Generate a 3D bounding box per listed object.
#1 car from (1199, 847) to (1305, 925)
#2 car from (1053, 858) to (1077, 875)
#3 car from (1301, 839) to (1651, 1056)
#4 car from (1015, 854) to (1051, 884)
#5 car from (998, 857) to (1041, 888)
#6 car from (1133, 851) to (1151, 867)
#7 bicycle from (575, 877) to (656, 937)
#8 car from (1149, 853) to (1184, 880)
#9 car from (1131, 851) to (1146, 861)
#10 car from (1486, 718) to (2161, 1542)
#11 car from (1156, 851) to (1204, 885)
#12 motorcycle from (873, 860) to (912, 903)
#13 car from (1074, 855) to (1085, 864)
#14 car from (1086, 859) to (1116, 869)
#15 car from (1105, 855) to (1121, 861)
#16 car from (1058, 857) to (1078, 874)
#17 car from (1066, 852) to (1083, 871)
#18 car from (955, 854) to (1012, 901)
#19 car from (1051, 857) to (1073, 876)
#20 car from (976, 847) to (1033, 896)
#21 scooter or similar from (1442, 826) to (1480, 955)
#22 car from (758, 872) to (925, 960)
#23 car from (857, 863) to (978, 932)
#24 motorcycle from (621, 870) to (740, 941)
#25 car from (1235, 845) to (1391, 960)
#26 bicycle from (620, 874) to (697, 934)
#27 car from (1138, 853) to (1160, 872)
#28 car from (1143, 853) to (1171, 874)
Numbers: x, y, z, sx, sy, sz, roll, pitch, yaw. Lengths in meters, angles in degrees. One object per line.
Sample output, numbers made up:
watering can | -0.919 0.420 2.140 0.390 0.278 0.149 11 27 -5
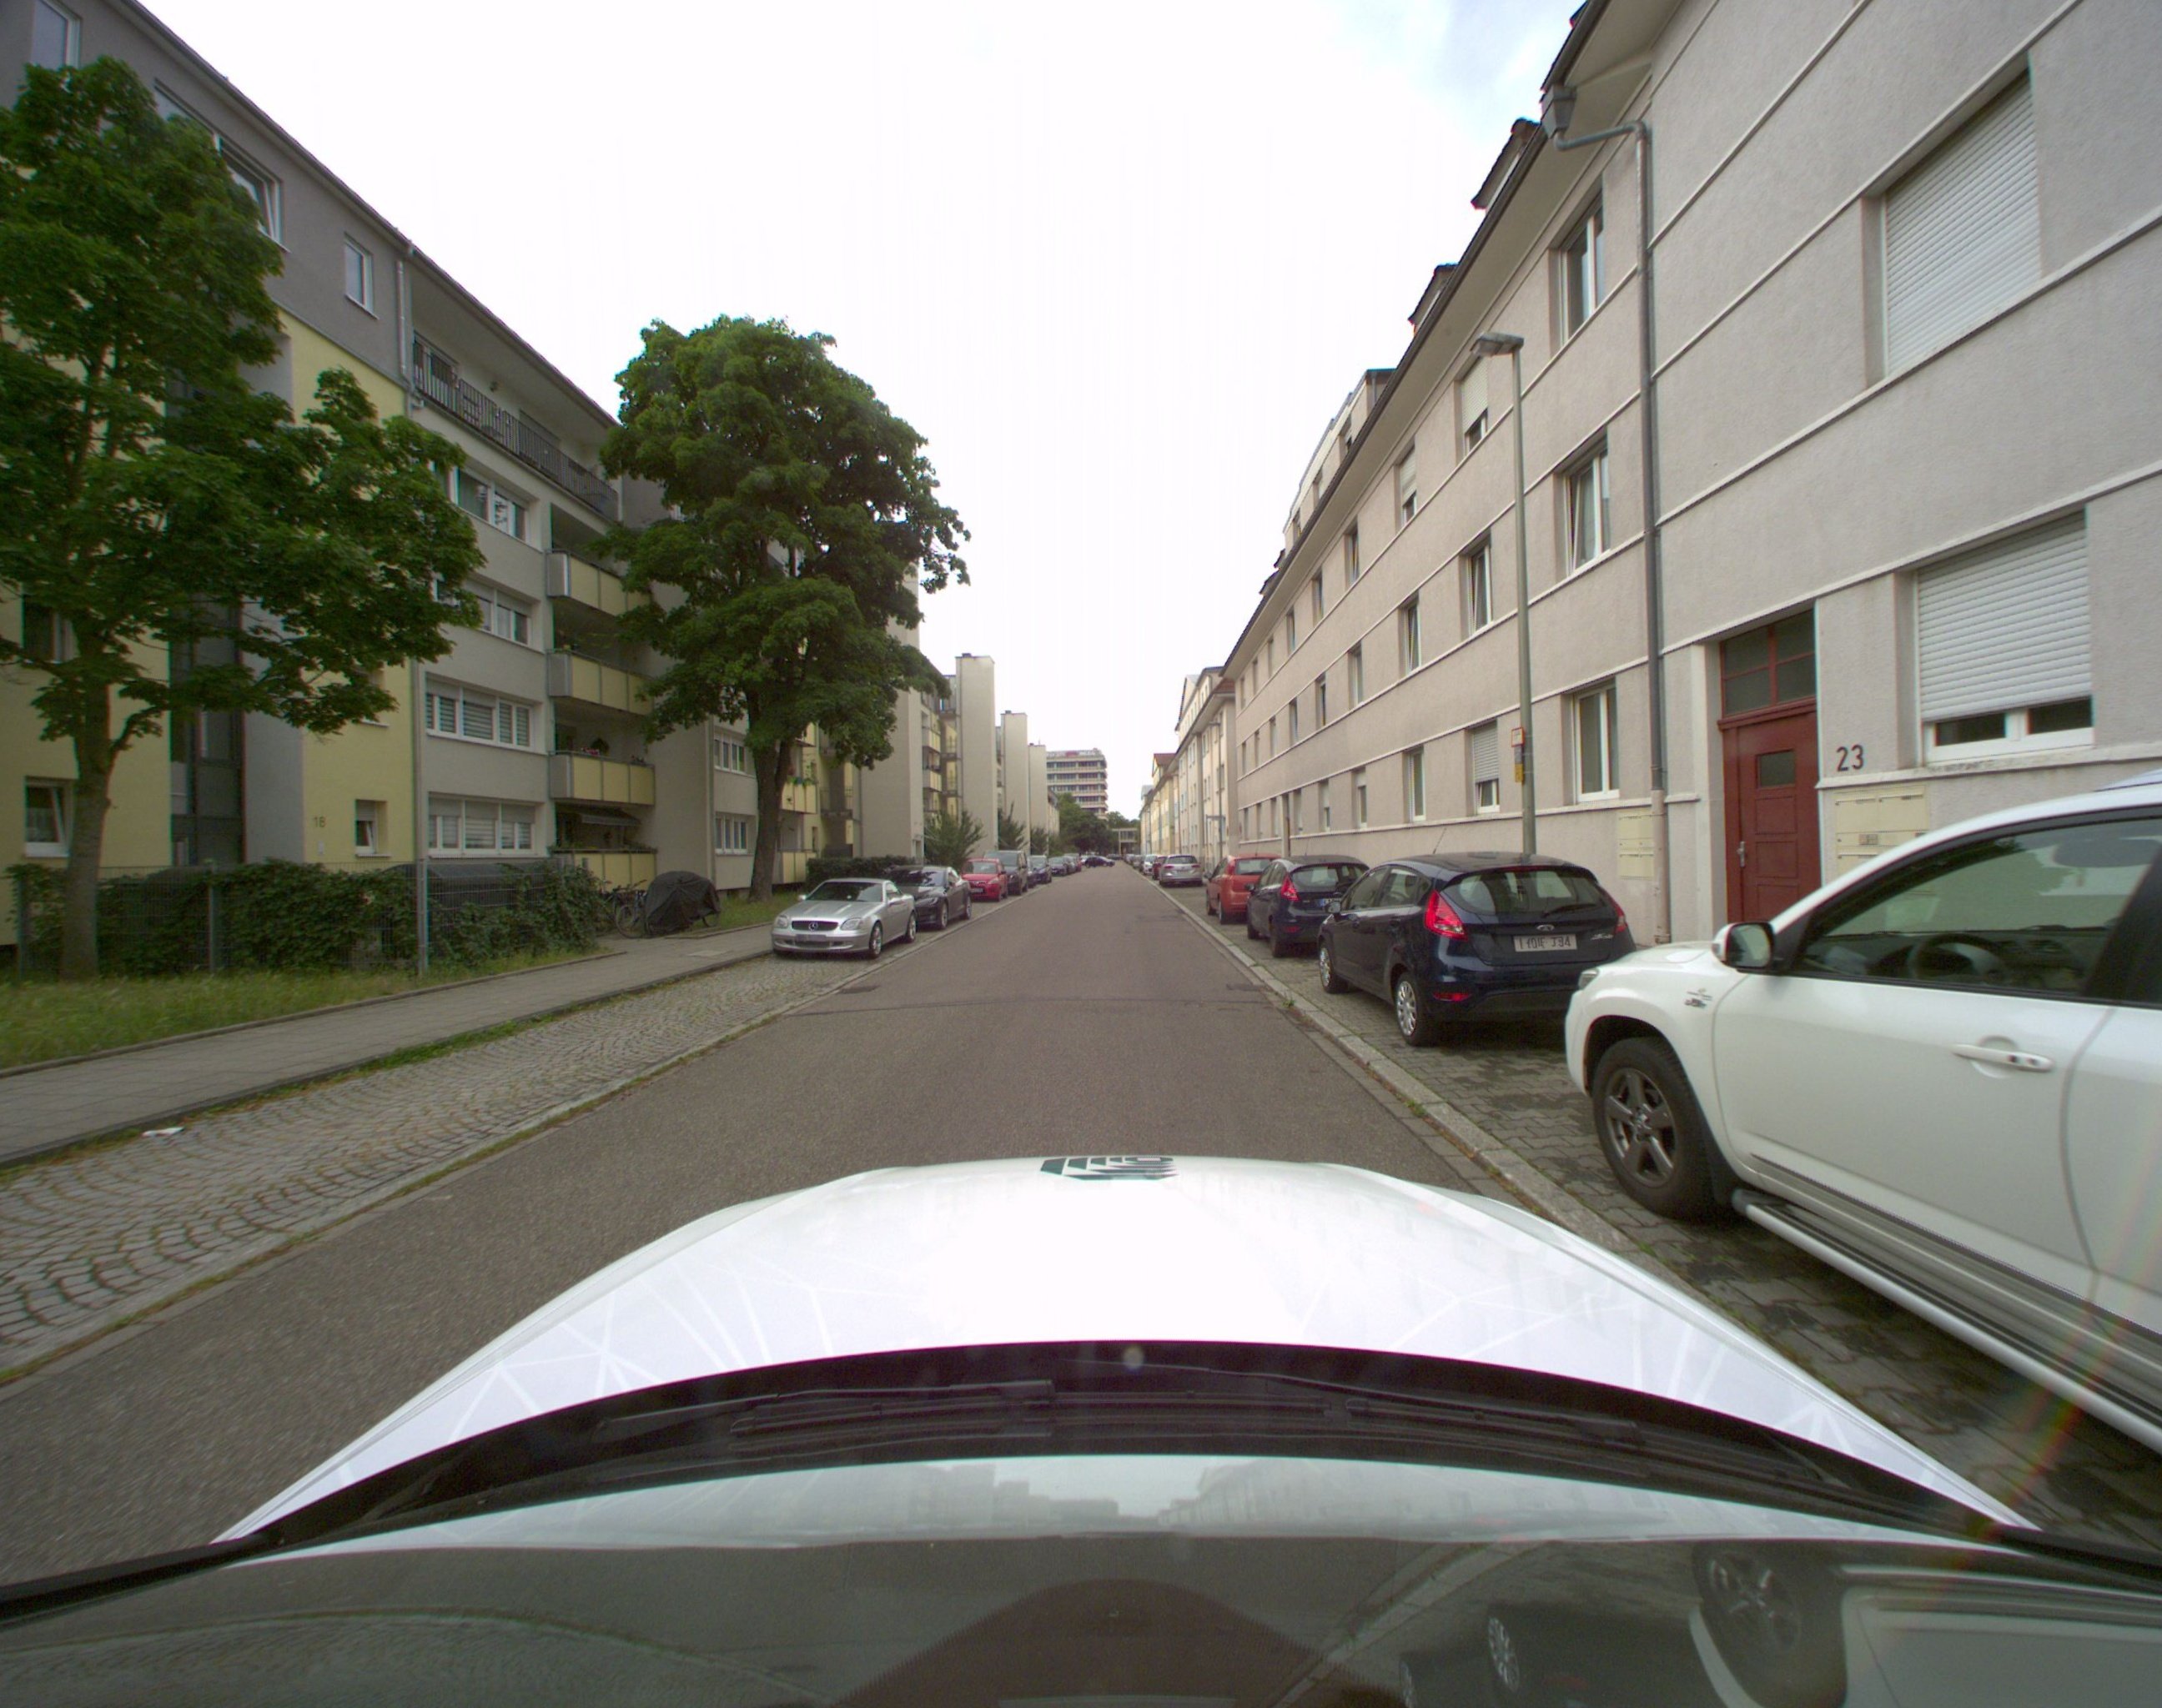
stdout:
car | 3.746 0.641 18.438 1.690 1.525 3.828 -3 0 3
car | -1.261 0.986 65.629 1.665 1.352 3.819 -1 0 2
car | 3.278 0.650 7.624 1.560 1.478 3.874 -2 0 3
car | -2.771 0.834 47.599 1.763 1.643 4.355 -1 0 1
car | -3.140 0.905 42.210 1.824 1.459 4.260 -1 0 1
car | 6.602 0.524 88.383 1.812 1.577 3.886 -1 0 2
bicycle | -9.509 1.063 16.721 0.549 1.101 1.776 -1 0 3
car | 4.964 0.682 47.800 1.664 1.420 4.001 -3 0 1
car | 8.128 0.323 115.989 1.986 1.398 4.002 1 0 2
car | 3.094 0.524 2.218 1.836 1.674 4.290 -3 0 1
car | 4.478 0.596 37.460 1.749 1.467 4.601 -1 0 1
motorcycle | -6.300 0.900 27.281 0.675 1.356 2.230 1 0 2
car | -0.199 0.828 128.270 1.533 1.450 3.744 -1 0 2
car | 2.641 1.318 108.149 3.702 1.214 1.550 -1 0 14
car | 7.949 0.970 200.795 3.971 1.486 2.001 1 0 2
car | -1.193 1.032 77.244 1.665 1.526 4.255 -1 0 2
car | -0.689 0.751 87.497 1.665 1.938 3.744 -1 0 2
car | -3.520 0.815 29.928 1.557 1.568 3.643 1 0 1
car | -1.601 1.072 70.700 1.665 1.564 3.666 -1 0 2
car | -3.215 0.691 35.175 1.873 1.903 5.031 1 0 0
scooter or similar | 6.095 0.563 13.057 0.342 2.013 0.682 1 0 41
car | -4.178 1.024 14.882 1.690 1.258 4.018 0 0 3
car | -3.836 0.965 19.953 1.834 1.421 4.632 0 0 3
motorcycle | -7.958 0.972 16.392 0.678 1.223 3.070 0 0 4
car | 3.517 0.659 12.992 1.560 1.473 3.700 -4 0 3
bicycle | -8.667 1.000 16.771 0.549 1.101 1.776 -1 0 3
car | 5.966 0.730 71.746 1.812 1.577 3.755 -1 0 2
car | 5.490 0.671 59.208 1.812 1.504 3.755 -1 0 2
